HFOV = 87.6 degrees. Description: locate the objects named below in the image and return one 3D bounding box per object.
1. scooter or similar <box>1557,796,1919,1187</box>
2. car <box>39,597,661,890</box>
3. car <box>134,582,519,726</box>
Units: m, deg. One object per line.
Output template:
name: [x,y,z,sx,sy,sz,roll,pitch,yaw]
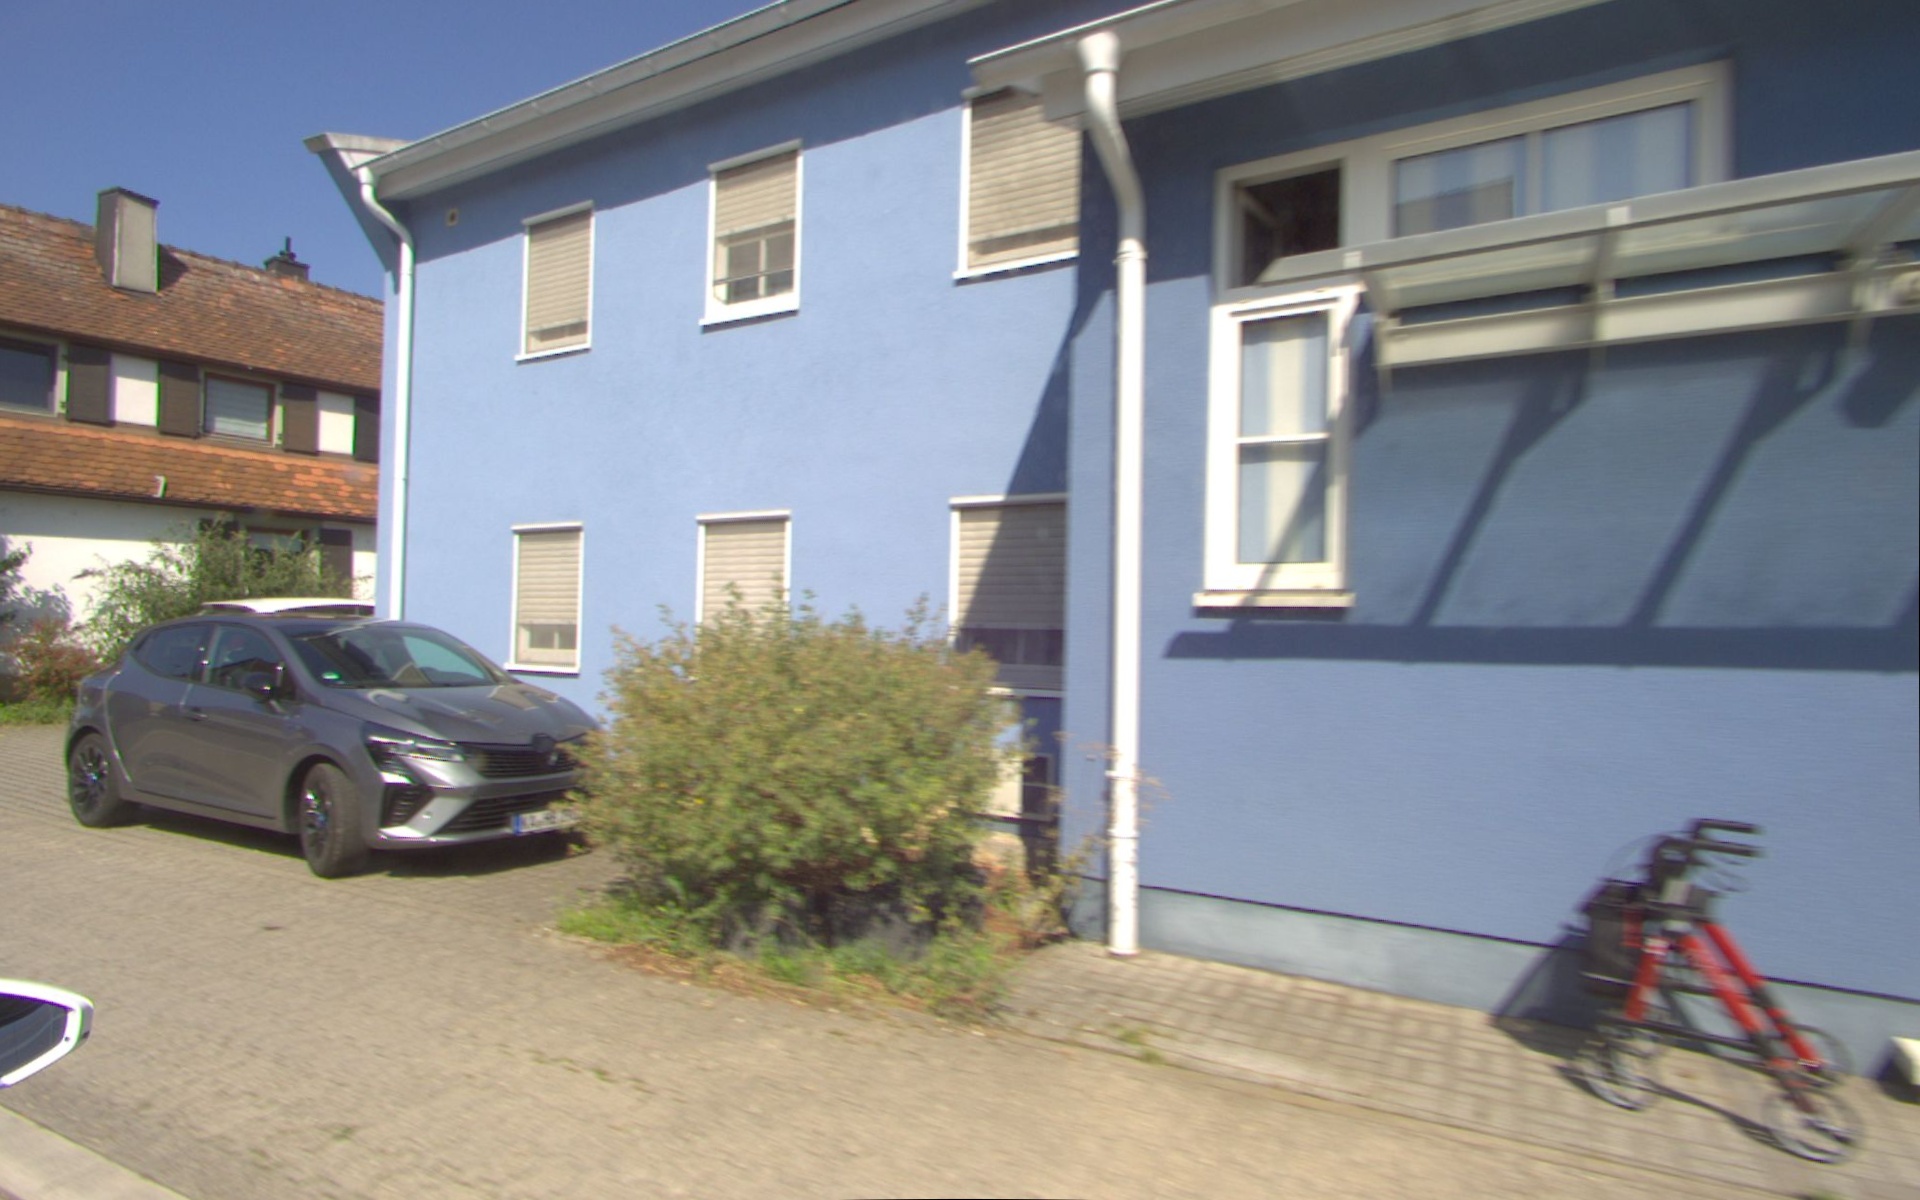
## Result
scooter or similar: [2.336,1.110,3.101,0.815,0.825,0.726,0,-1,32]
car: [-4.126,0.749,6.662,4.081,1.437,1.689,0,-3,29]
car: [-8.564,0.708,13.941,1.785,1.678,4.170,0,-2,31]
